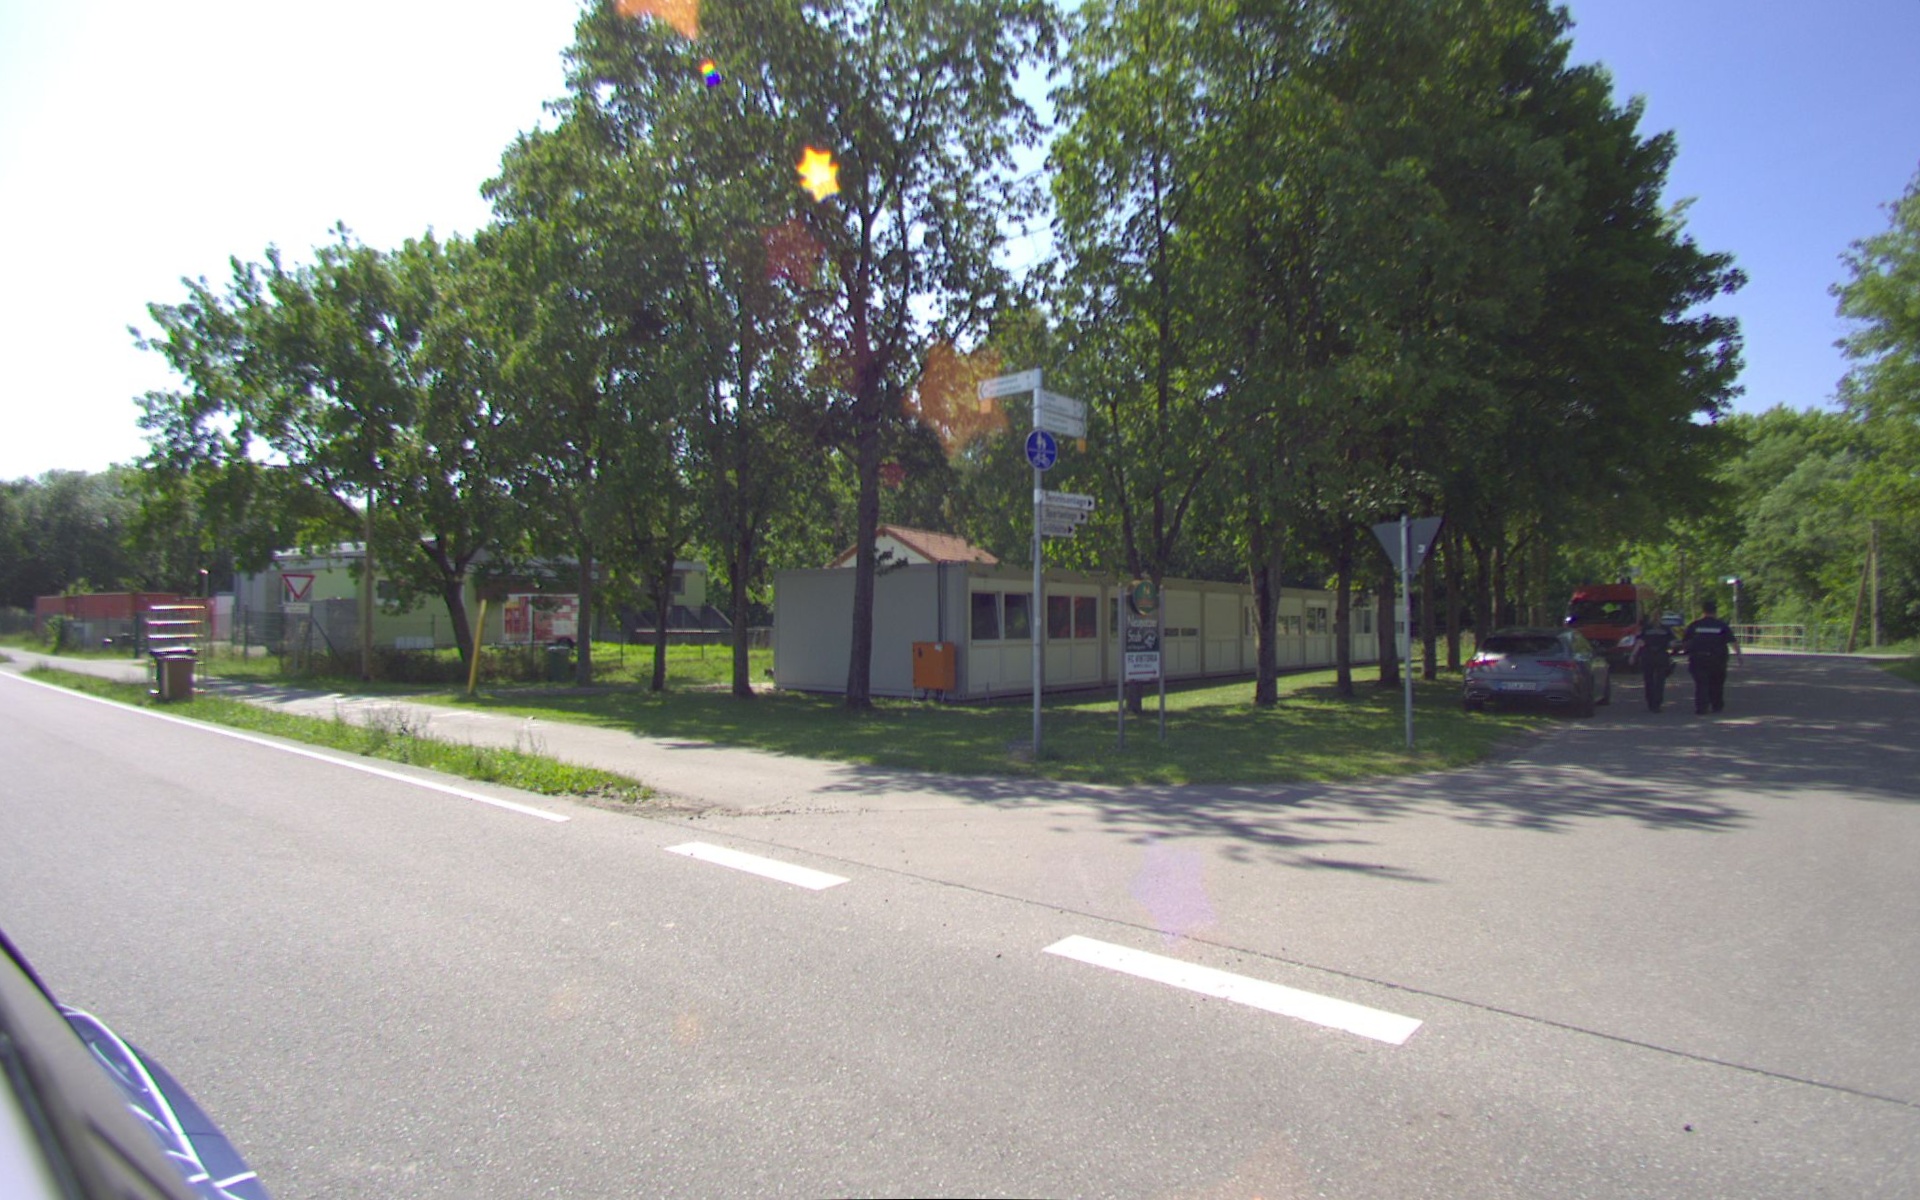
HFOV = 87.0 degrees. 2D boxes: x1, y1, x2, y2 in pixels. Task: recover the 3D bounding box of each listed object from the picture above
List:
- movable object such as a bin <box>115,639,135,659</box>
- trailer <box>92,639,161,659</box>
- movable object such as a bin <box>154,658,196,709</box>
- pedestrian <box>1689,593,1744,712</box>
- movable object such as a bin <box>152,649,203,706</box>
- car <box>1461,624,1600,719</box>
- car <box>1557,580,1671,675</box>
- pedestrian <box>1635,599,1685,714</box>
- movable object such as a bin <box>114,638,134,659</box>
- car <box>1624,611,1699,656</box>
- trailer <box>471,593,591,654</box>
[{"bbox_3d":[-35.970,2.111,43.590,0.631,0.861,0.654,2,-3,-43],"label":"movable object such as a bin"},{"bbox_3d":[-38.191,2.211,46.375,3.350,0.873,1.616,-1,-3,35],"label":"trailer"},{"bbox_3d":[-14.217,1.496,18.322,0.555,0.883,0.614,2,-3,-41],"label":"movable object such as a bin"},{"bbox_3d":[11.516,0.789,15.424,0.585,1.764,0.599,-1,-2,32],"label":"pedestrian"},{"bbox_3d":[-14.615,1.434,18.895,0.690,1.032,0.749,2,-3,-41],"label":"movable object such as a bin"},{"bbox_3d":[9.680,1.128,17.041,1.754,1.410,3.768,-1,-2,34],"label":"car"},{"bbox_3d":[19.761,0.846,30.441,2.120,2.597,5.997,-2,-3,40],"label":"car"},{"bbox_3d":[11.032,0.875,15.960,0.585,1.764,0.599,-1,-2,32],"label":"pedestrian"},{"bbox_3d":[-36.431,2.114,44.094,0.631,0.882,0.654,2,-3,-43],"label":"movable object such as a bin"},{"bbox_3d":[28.802,1.385,41.670,1.655,1.763,3.722,-1,-2,21],"label":"car"},{"bbox_3d":[-17.053,0.983,40.449,1.820,2.295,4.197,-1,-2,28],"label":"trailer"}]
